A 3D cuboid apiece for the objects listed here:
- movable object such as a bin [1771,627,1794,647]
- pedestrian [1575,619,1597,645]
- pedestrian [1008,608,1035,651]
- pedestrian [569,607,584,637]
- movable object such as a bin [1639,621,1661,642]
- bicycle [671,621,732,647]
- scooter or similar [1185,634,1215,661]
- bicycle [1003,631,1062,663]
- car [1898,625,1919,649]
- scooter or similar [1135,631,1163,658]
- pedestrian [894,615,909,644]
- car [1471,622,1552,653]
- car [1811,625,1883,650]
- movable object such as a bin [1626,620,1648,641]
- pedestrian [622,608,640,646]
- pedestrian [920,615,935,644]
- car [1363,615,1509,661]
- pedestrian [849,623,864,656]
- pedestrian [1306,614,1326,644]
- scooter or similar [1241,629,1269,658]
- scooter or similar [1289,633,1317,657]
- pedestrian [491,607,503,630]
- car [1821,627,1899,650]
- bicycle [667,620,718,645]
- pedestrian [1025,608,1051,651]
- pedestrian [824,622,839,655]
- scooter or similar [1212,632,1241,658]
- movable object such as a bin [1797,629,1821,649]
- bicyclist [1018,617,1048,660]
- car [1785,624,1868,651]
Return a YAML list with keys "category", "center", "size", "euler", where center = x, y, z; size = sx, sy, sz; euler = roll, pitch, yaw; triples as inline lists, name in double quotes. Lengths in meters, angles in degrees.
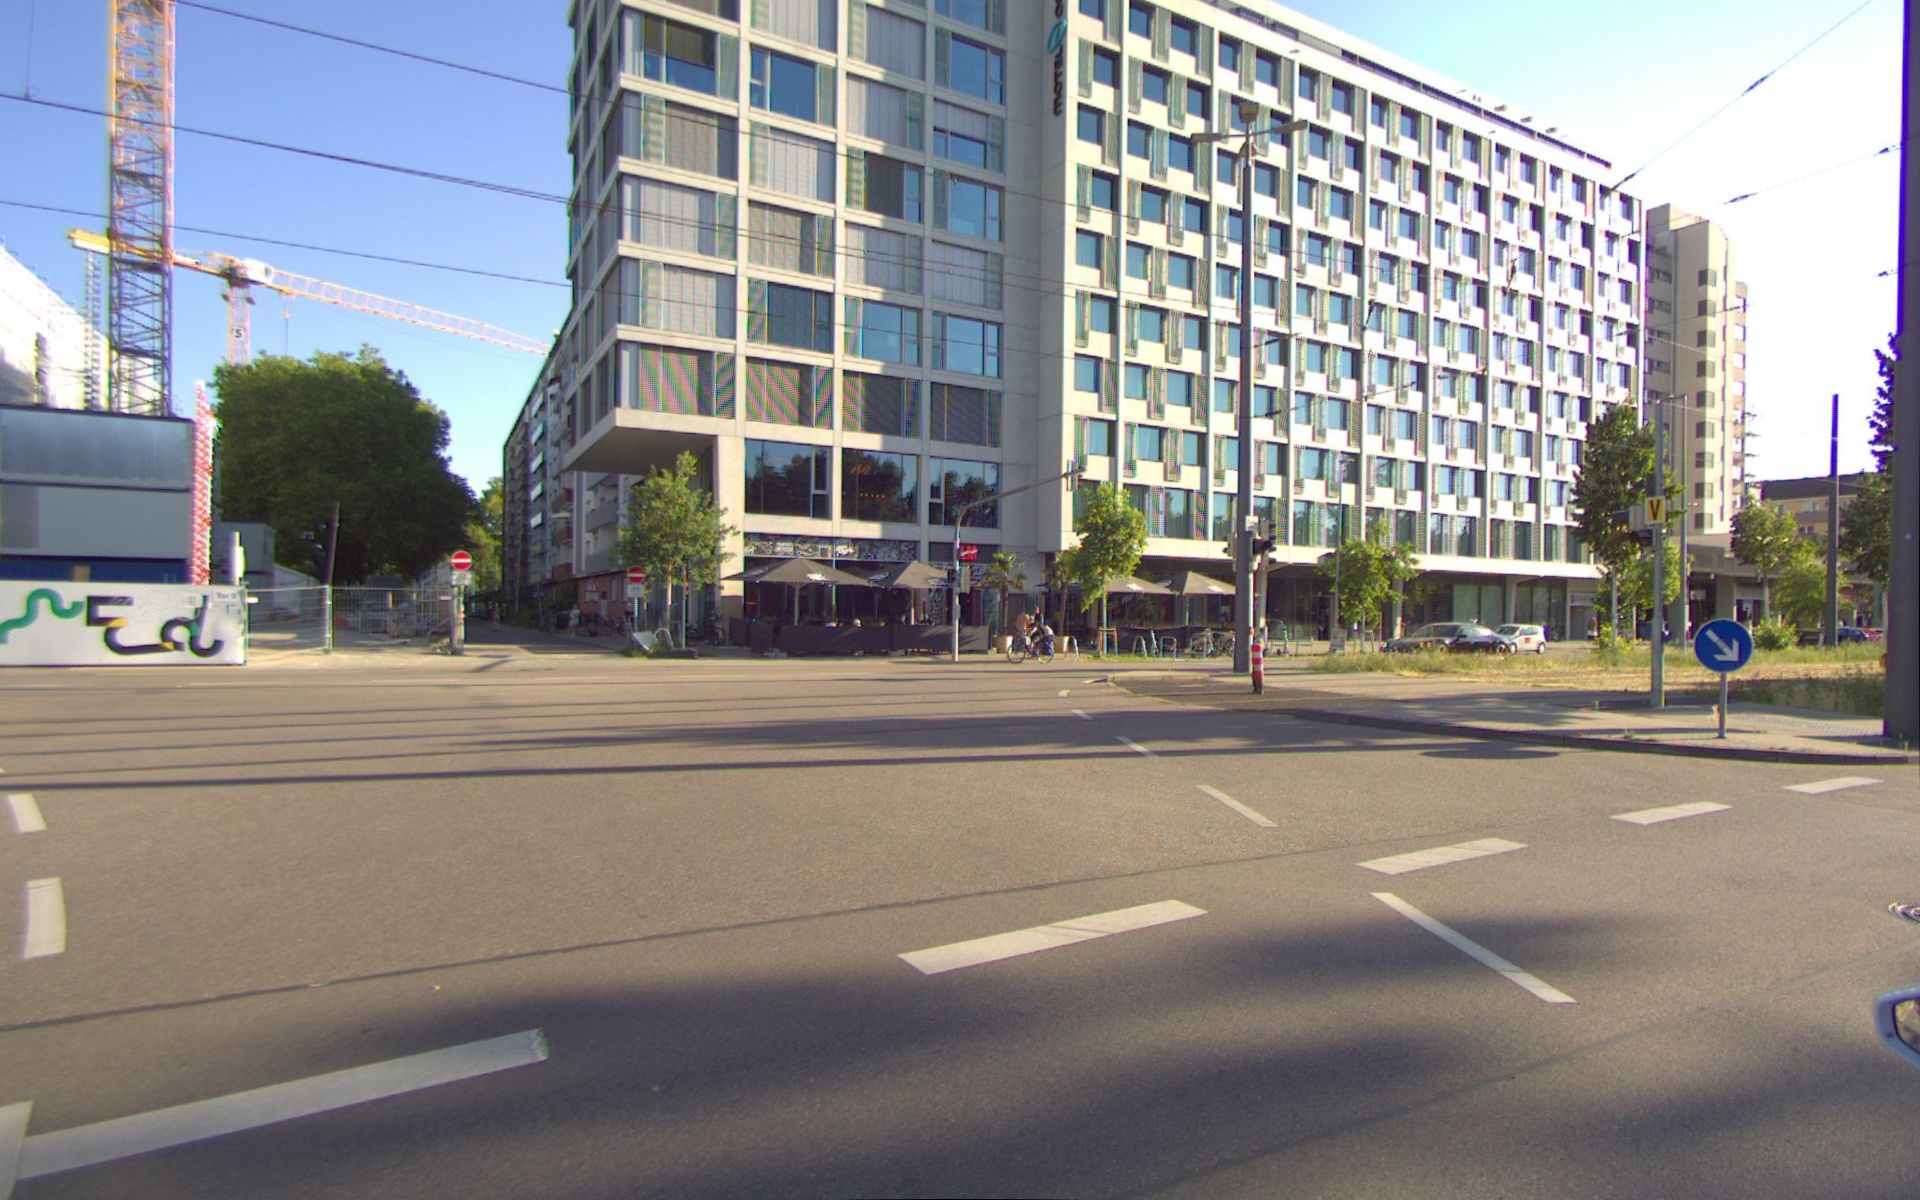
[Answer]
- category: "movable object such as a bin"
  center: [56.629, 2.551, 69.155]
  size: [0.924, 1.376, 0.858]
  euler: [1, 0, -15]
- category: "pedestrian"
  center: [40.767, 2.093, 65.377]
  size: [0.958, 1.675, 0.840]
  euler: [1, 0, -28]
- category: "pedestrian"
  center: [2.502, 1.201, 41.061]
  size: [0.791, 1.744, 0.868]
  euler: [1, 0, -20]
- category: "pedestrian"
  center: [-19.710, 1.121, 51.647]
  size: [0.694, 1.555, 0.580]
  euler: [1, 0, -23]
- category: "movable object such as a bin"
  center: [49.748, 2.250, 72.406]
  size: [1.386, 1.459, 0.796]
  euler: [1, -1, -30]
- category: "bicycle"
  center: [-9.983, 1.312, 38.830]
  size: [2.190, 0.948, 0.615]
  euler: [1, -1, -31]
- category: "scooter or similar"
  center: [9.801, 1.933, 41.016]
  size: [0.504, 1.033, 1.238]
  euler: [1, -1, -28]
- category: "bicycle"
  center: [2.551, 1.654, 35.209]
  size: [2.052, 1.081, 0.622]
  euler: [1, 0, -29]
- category: "car"
  center: [76.880, 2.981, 79.316]
  size: [3.685, 1.854, 1.824]
  euler: [2, 1, 21]
- category: "scooter or similar"
  center: [7.552, 1.772, 40.179]
  size: [0.401, 1.019, 1.238]
  euler: [1, -1, -28]
- category: "pedestrian"
  center: [-2.511, 1.254, 43.192]
  size: [0.491, 1.238, 0.430]
  euler: [1, 0, -29]
- category: "car"
  center: [28.375, 1.919, 51.654]
  size: [3.824, 1.512, 1.878]
  euler: [1, 0, -28]
- category: "car"
  center: [64.656, 2.730, 73.272]
  size: [3.554, 1.543, 1.620]
  euler: [3, 1, 20]
- category: "movable object such as a bin"
  center: [49.333, 2.231, 73.169]
  size: [1.386, 1.459, 0.796]
  euler: [1, -1, -30]
- category: "pedestrian"
  center: [-13.413, 1.099, 40.901]
  size: [0.570, 1.518, 0.583]
  euler: [1, 0, -31]
- category: "pedestrian"
  center: [-1.433, 1.278, 43.785]
  size: [0.491, 1.238, 0.430]
  euler: [1, 0, -29]
- category: "car"
  center: [15.222, 1.189, 32.065]
  size: [4.793, 1.361, 1.882]
  euler: [1, -1, -30]
- category: "pedestrian"
  center: [-3.827, 1.454, 37.270]
  size: [0.428, 1.210, 0.362]
  euler: [1, 0, -32]
- category: "pedestrian"
  center: [20.639, 1.675, 58.214]
  size: [1.038, 1.693, 0.979]
  euler: [1, 0, 21]
- category: "scooter or similar"
  center: [12.574, 1.853, 42.850]
  size: [0.401, 1.187, 1.238]
  euler: [1, -1, -28]
- category: "scooter or similar"
  center: [15.015, 1.956, 43.982]
  size: [0.429, 1.033, 1.238]
  euler: [1, -1, -28]
- category: "pedestrian"
  center: [-31.046, 1.245, 67.318]
  size: [0.701, 1.568, 0.674]
  euler: [1, 0, -27]
- category: "car"
  center: [67.005, 2.848, 74.849]
  size: [3.919, 1.472, 1.787]
  euler: [2, 1, 13]
- category: "bicycle"
  center: [-10.539, 1.290, 39.597]
  size: [1.879, 0.948, 0.533]
  euler: [1, 0, -31]
- category: "pedestrian"
  center: [3.219, 1.217, 41.386]
  size: [0.791, 1.744, 0.868]
  euler: [1, 0, -20]
- category: "pedestrian"
  center: [-4.778, 1.429, 37.221]
  size: [0.428, 1.210, 0.362]
  euler: [1, 0, -32]
- category: "scooter or similar"
  center: [11.095, 1.872, 41.794]
  size: [0.429, 1.033, 1.238]
  euler: [1, -1, -28]
- category: "movable object such as a bin"
  center: [57.564, 2.645, 68.101]
  size: [0.924, 1.297, 0.858]
  euler: [1, 0, -15]
- category: "bicyclist"
  center: [2.571, 1.349, 35.216]
  size: [0.841, 1.484, 0.622]
  euler: [1, 0, -29]
- category: "car"
  center: [61.549, 2.641, 71.382]
  size: [4.016, 1.622, 1.749]
  euler: [3, 2, 20]
